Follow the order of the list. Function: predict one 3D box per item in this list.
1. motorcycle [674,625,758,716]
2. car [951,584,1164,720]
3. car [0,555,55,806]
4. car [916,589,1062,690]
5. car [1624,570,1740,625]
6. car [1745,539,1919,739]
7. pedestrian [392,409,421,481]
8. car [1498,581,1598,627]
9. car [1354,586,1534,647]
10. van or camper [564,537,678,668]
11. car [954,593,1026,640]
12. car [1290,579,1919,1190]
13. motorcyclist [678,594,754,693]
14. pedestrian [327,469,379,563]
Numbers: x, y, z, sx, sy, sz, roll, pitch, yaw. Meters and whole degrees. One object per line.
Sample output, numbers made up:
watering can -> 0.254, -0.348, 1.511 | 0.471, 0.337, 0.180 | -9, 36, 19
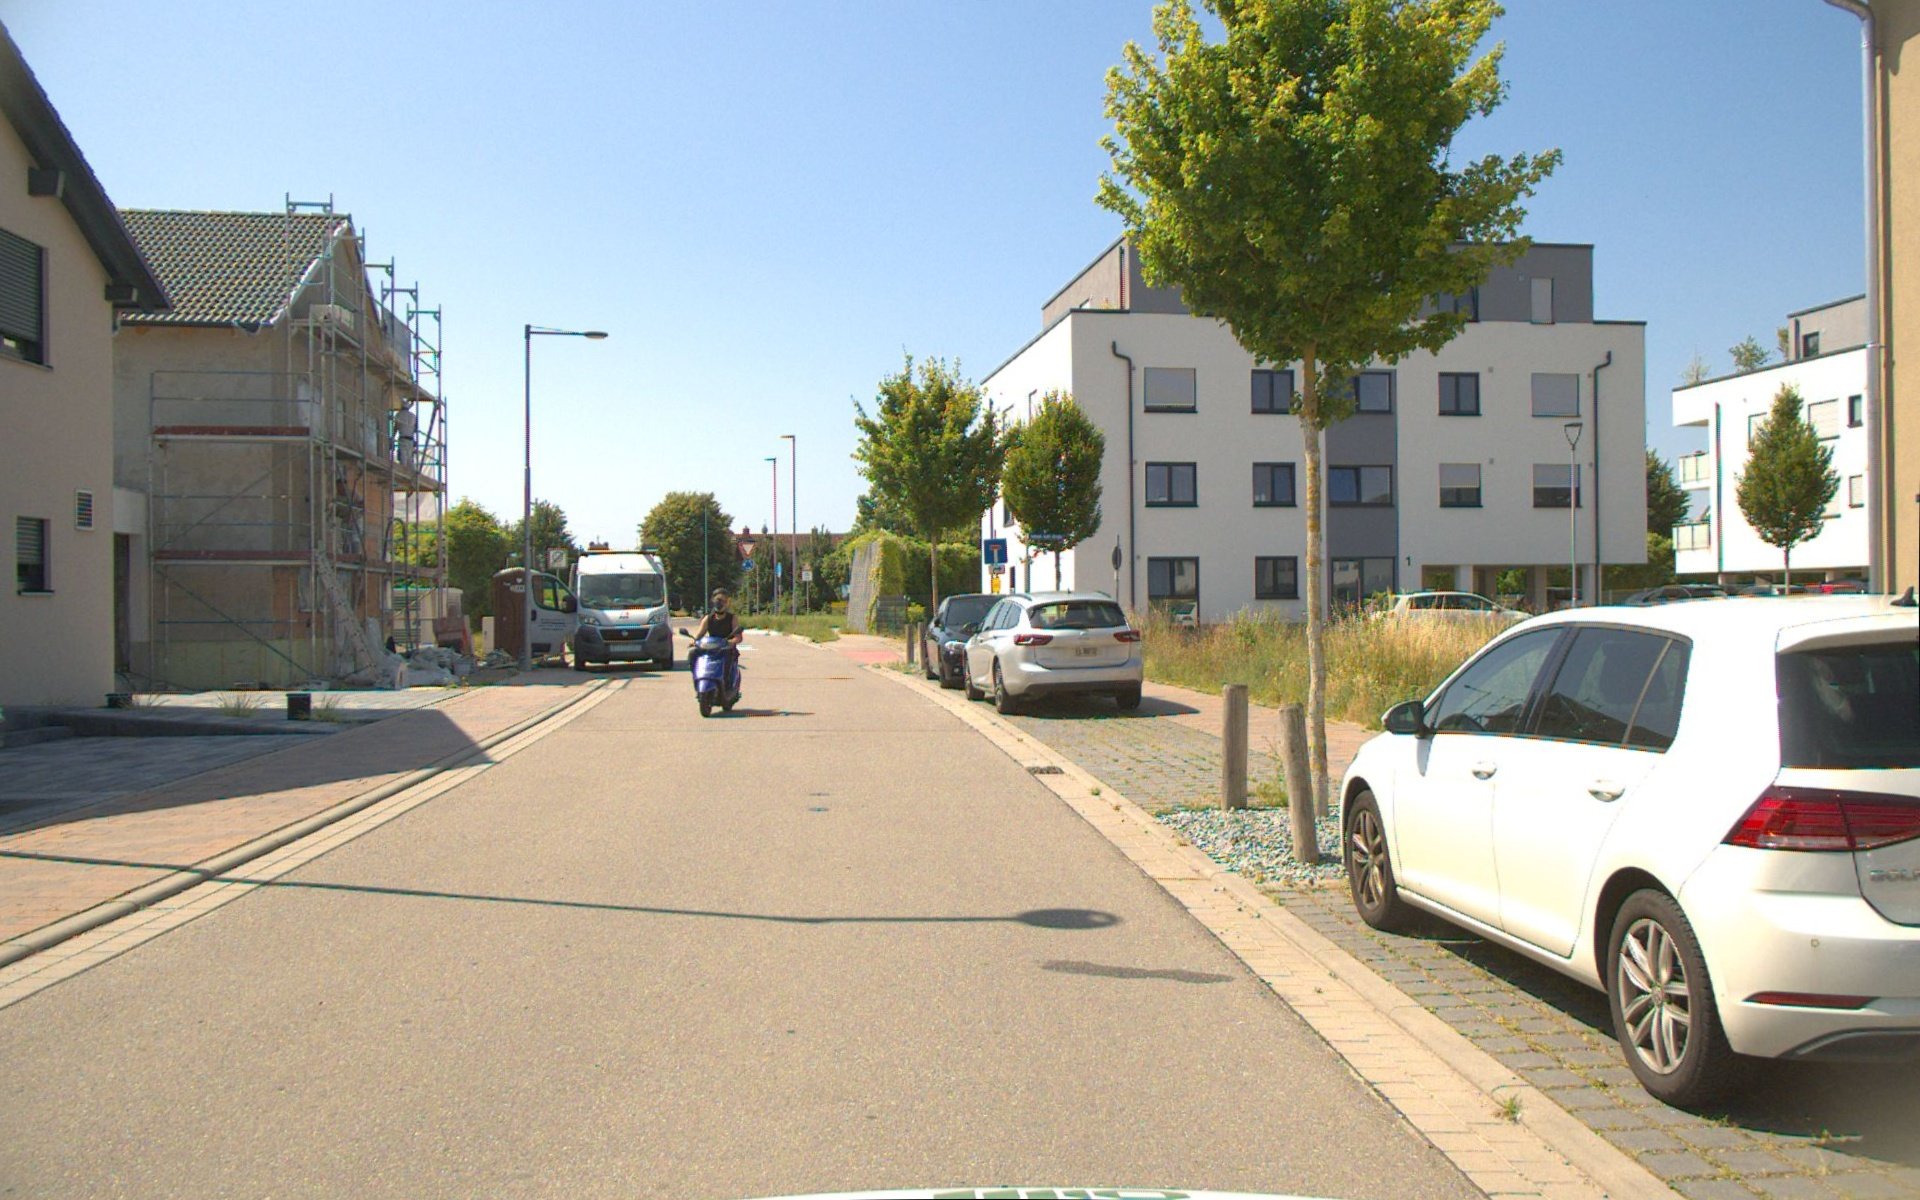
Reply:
motorcycle -> -3.170, 0.893, 21.676 | 0.937, 1.053, 2.434 | -1, 0, -5
car -> 1.153, 0.593, 22.301 | 1.882, 1.537, 5.286 | -2, 1, -7
car -> -8.419, 0.571, 10.362 | 4.341, 1.640, 1.997 | -1, 0, -8
car -> 0.386, 0.595, 28.312 | 1.881, 1.495, 5.133 | -2, 1, -6
car -> 25.640, -0.068, 58.866 | 1.841, 1.841, 4.163 | -1, -1, -8
car -> 9.983, 0.284, 15.165 | 4.655, 1.673, 1.997 | -2, -1, -6
pedestrian -> -12.439, -3.481, 37.169 | 0.552, 1.526, 0.745 | -1, -2, -15
car -> 20.867, 0.161, 58.797 | 1.841, 1.529, 3.672 | -1, -1, -8
car -> 12.554, 0.435, 43.023 | 4.082, 1.461, 1.878 | -1, -1, -10
van or camper -> -7.556, 0.079, 36.417 | 2.234, 2.598, 6.344 | -1, -1, -13
car -> 0.948, 0.525, 54.983 | 1.647, 1.495, 4.106 | 0, 0, -10
car -> 2.776, 0.677, 6.407 | 1.745, 1.450, 4.510 | -2, 1, -4
motorcyclist -> -3.157, 0.552, 21.451 | 0.906, 1.244, 0.803 | -1, 1, -5
pedestrian -> -11.511, -1.576, 31.357 | 0.567, 1.709, 0.744 | -3, -3, 40
